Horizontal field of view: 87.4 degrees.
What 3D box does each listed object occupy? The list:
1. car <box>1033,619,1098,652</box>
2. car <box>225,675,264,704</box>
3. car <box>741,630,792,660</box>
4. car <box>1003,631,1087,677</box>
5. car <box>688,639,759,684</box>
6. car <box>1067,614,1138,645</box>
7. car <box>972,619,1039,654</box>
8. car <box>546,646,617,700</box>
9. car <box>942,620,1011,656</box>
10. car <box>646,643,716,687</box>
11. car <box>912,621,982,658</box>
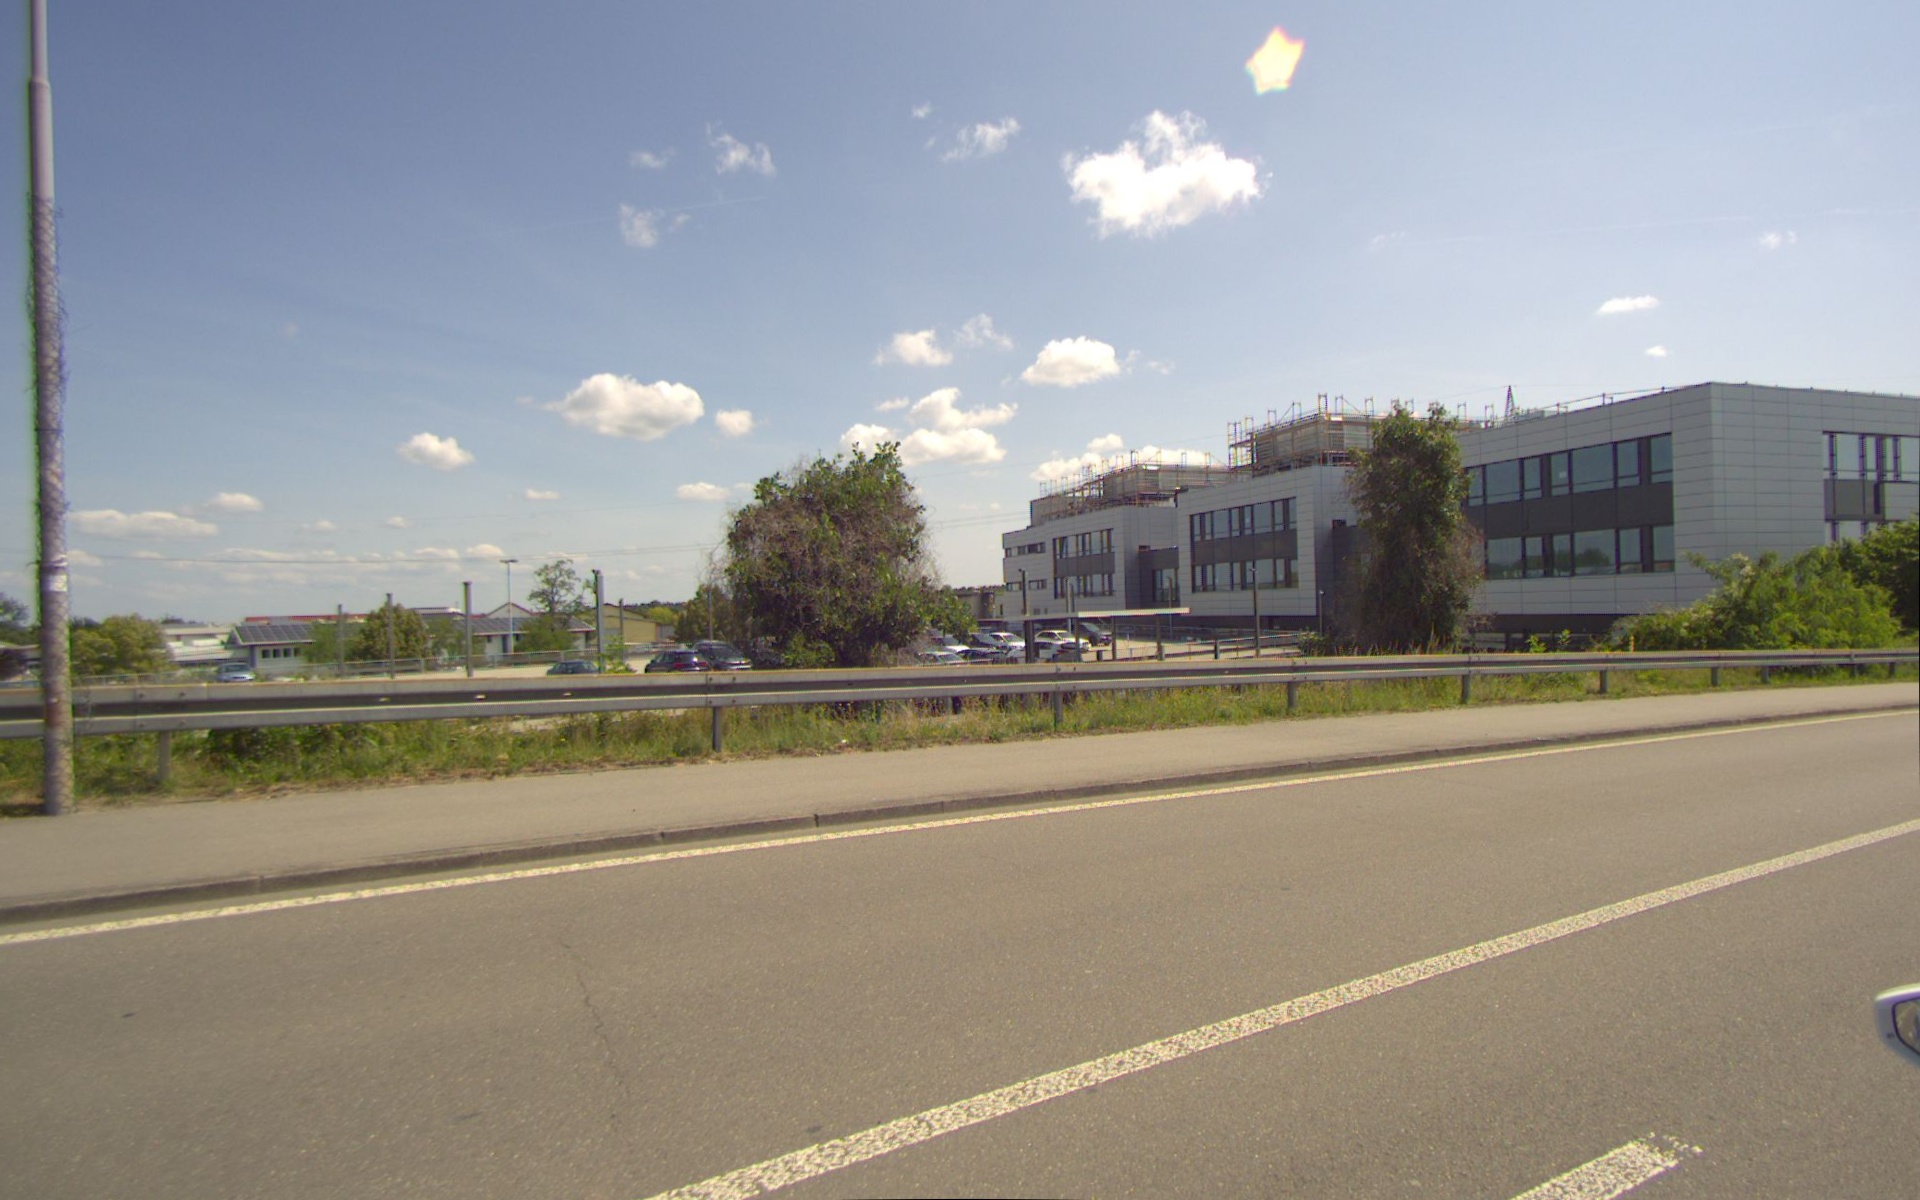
[{"bbox_3d":[6.950,2.323,66.314,1.985,2.041,3.950,-3,1,-43],"label":"car"},{"bbox_3d":[-44.452,5.531,62.353,1.679,1.409,3.769,-3,1,-39],"label":"car"},{"bbox_3d":[-13.816,3.229,71.591,3.947,2.040,1.685,-5,-4,45],"label":"car"},{"bbox_3d":[4.244,2.660,50.419,1.945,2.041,3.951,-3,2,-42],"label":"car"},{"bbox_3d":[-11.848,3.050,50.151,1.981,2.040,3.960,-2,-1,-36],"label":"car"},{"bbox_3d":[10.376,2.131,73.406,1.985,2.041,5.022,-3,1,-43],"label":"car"},{"bbox_3d":[2.844,2.274,63.202,1.985,2.041,3.950,-3,1,-43],"label":"car"},{"bbox_3d":[-17.062,3.233,45.153,1.980,2.041,3.960,-3,1,-35],"label":"car"},{"bbox_3d":[0.994,2.295,61.649,1.985,2.041,3.950,-3,1,-43],"label":"car"},{"bbox_3d":[-13.500,3.104,48.451,1.981,2.040,3.960,1,-3,-36],"label":"car"},{"bbox_3d":[-0.797,2.316,60.146,1.985,2.041,3.950,-3,1,-43],"label":"car"}]
